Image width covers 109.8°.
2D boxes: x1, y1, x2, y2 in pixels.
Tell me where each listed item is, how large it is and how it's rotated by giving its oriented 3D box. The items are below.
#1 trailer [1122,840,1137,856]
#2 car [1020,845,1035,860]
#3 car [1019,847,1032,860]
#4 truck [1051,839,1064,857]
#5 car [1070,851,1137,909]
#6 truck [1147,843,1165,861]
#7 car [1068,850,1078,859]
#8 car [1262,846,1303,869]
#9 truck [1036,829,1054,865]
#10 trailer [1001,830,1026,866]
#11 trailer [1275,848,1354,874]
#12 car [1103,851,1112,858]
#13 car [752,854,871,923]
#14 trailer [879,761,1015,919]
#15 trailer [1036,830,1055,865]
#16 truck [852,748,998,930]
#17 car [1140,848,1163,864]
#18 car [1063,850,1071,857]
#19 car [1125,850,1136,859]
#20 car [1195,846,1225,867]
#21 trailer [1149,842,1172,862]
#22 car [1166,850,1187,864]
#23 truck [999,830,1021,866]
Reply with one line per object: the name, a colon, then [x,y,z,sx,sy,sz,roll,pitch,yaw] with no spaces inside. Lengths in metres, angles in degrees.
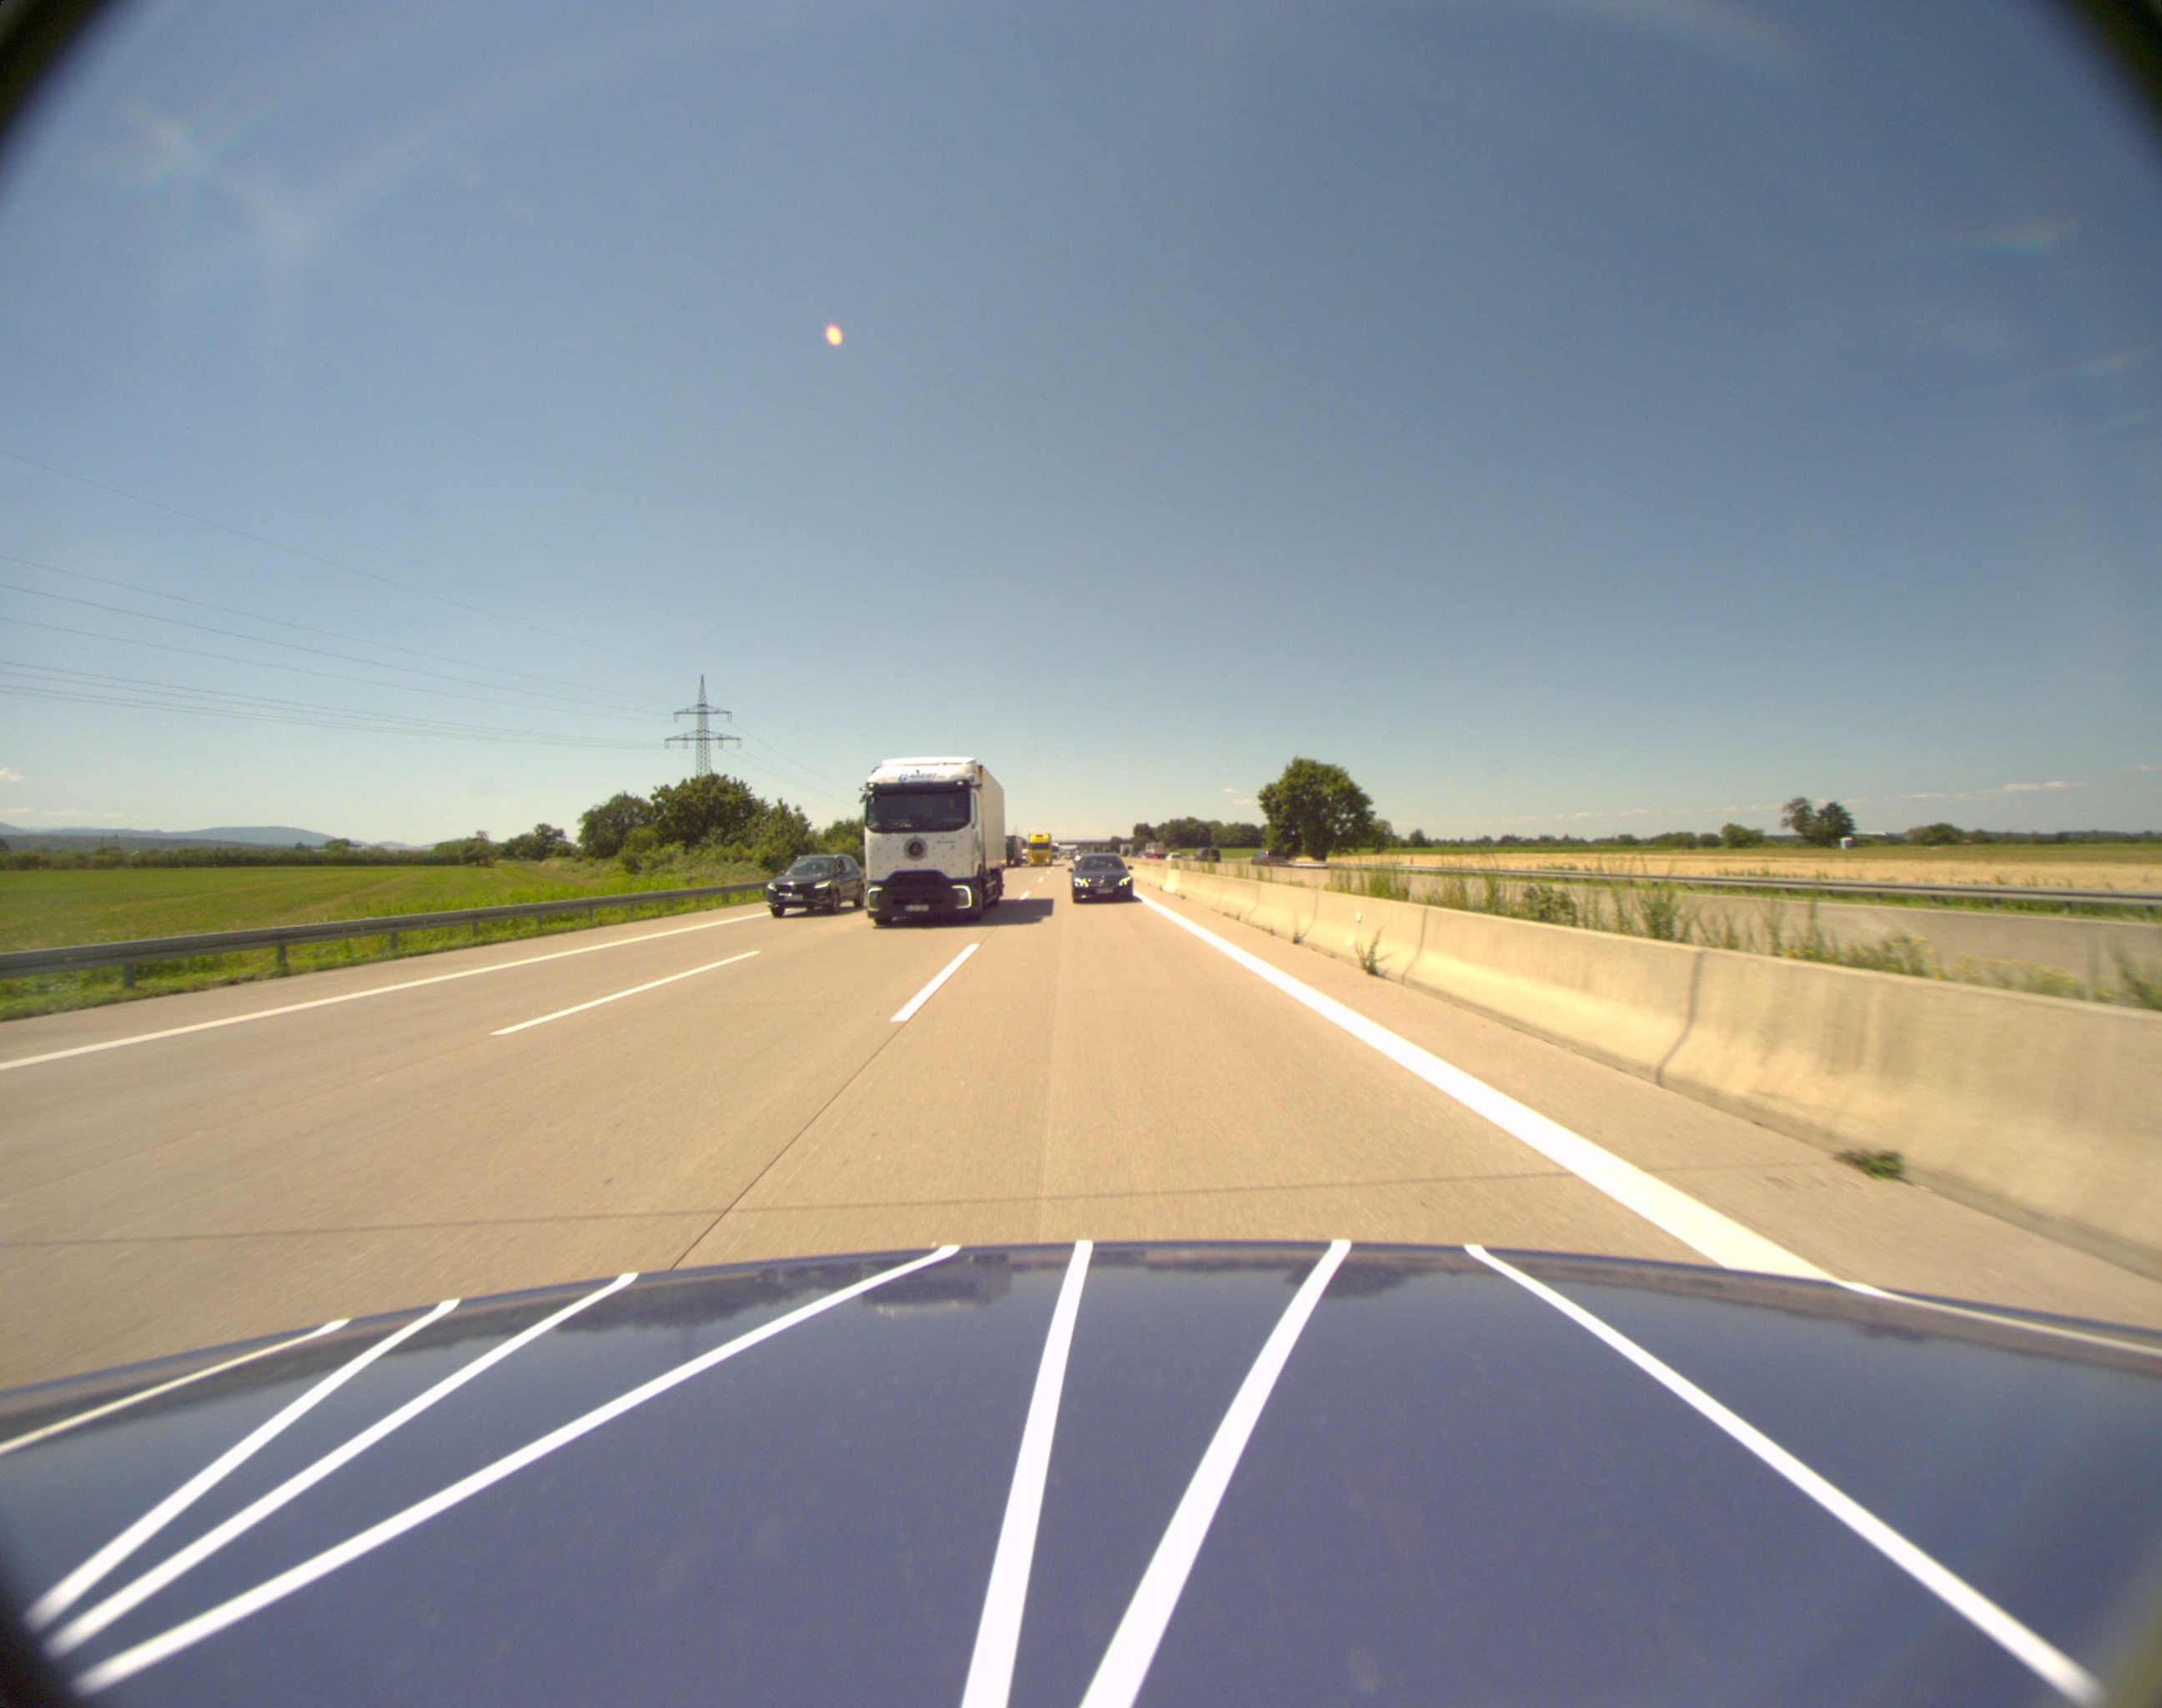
trailer: [12.320,-1.545,192.700,2.908,3.947,8.475,-2,0,-1]
car: [-8.991,-0.218,127.905,2.140,2.334,5.515,-2,0,-1]
car: [-8.938,-0.077,123.248,1.788,2.002,3.819,-2,0,-1]
truck: [-5.764,-1.464,189.887,2.960,4.122,6.151,-2,1,-1]
car: [0.626,0.746,23.937,1.848,1.576,3.939,-2,0,-1]
truck: [15.656,-0.459,158.550,2.810,3.666,7.235,-2,0,-1]
car: [-1.586,0.031,159.364,1.999,1.781,4.300,-2,0,-1]
car: [16.459,0.291,62.328,1.999,1.707,4.300,-2,0,-2]
truck: [-4.410,-0.857,93.593,1.999,4.230,5.193,-2,1,-1]
trailer: [-8.644,-0.757,99.209,1.999,4.168,14.743,-2,0,-1]
trailer: [16.767,0.431,55.372,2.243,1.735,10.542,0,0,-1]
car: [6.586,0.074,190.792,1.999,1.707,5.024,-3,0,0]
car: [-7.879,0.931,22.659,1.998,1.772,4.000,-2,0,1]
trailer: [-3.803,-0.369,24.223,2.588,3.855,10.370,-2,0,-2]
trailer: [-4.579,-0.826,100.727,1.999,4.230,15.196,-2,0,-1]
truck: [-3.649,-0.344,18.993,2.588,3.855,4.983,-2,1,-2]
car: [7.641,0.193,82.920,1.998,1.707,5.029,-2,0,0]
car: [-4.078,-0.147,216.514,1.999,1.827,4.814,-2,0,-3]
car: [9.979,0.047,152.713,1.968,1.707,5.126,-2,0,2]
car: [12.344,0.254,73.109,1.998,1.867,5.183,-2,0,0]
trailer: [15.769,-0.418,152.000,2.810,3.662,13.747,-2,0,-1]
car: [12.275,0.360,98.017,1.998,1.707,4.612,-2,0,0]
truck: [-8.540,-0.718,92.084,1.999,4.168,5.705,-2,1,-1]
